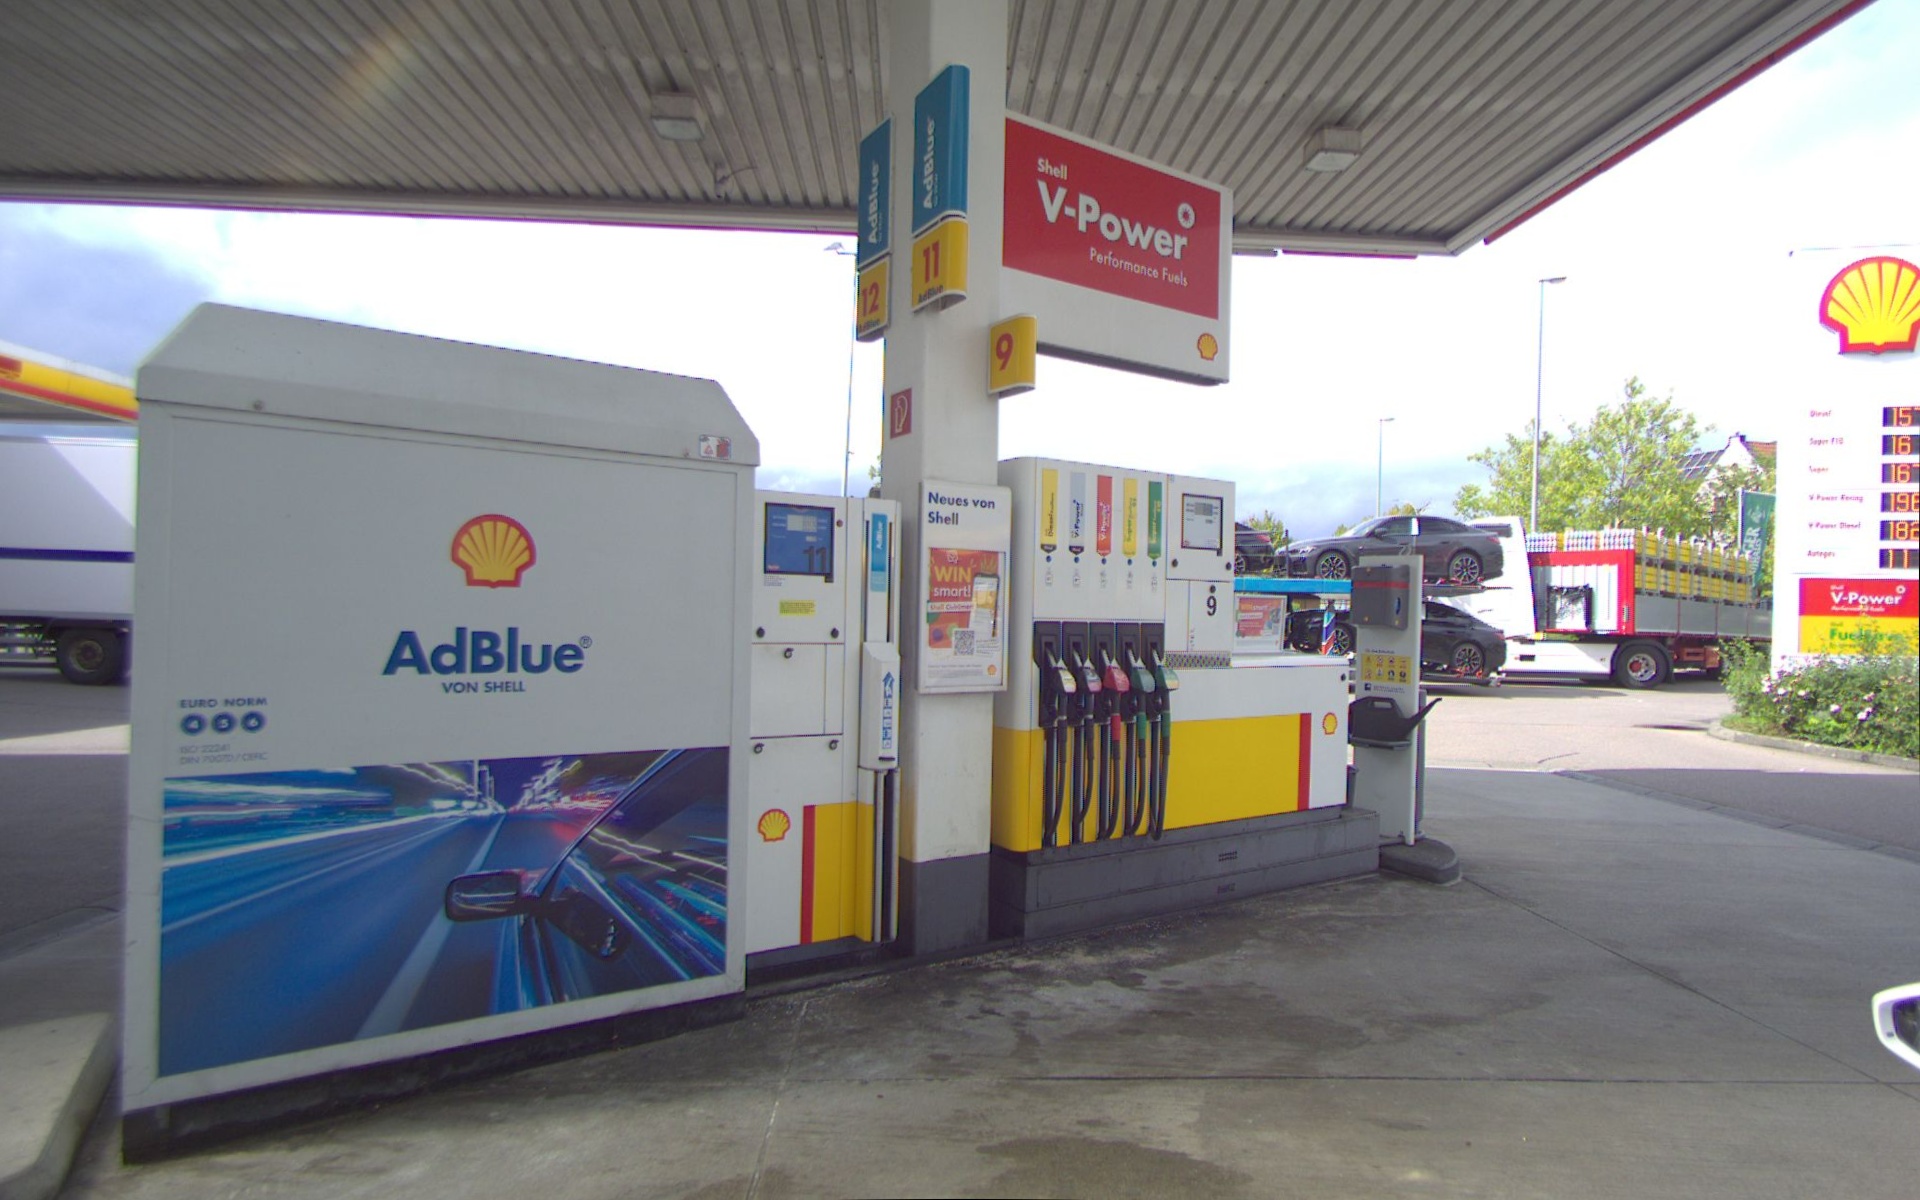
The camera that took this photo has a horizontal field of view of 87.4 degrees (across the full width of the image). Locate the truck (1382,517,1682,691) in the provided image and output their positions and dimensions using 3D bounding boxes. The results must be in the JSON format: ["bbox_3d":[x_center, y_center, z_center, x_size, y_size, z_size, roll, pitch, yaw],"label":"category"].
[{"bbox_3d":[13.840,0.049,24.836,5.799,3.897,2.743,2,0,14],"label":"truck"}]

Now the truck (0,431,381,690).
[{"bbox_3d":[-17.312,-0.747,17.500,12.654,4.092,2.534,2,0,-3],"label":"truck"}]

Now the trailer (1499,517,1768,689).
[{"bbox_3d":[18.779,0.214,27.415,12.610,3.826,2.707,2,0,-40],"label":"trailer"}]

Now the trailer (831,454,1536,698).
[{"bbox_3d":[4.514,-0.474,21.584,14.077,4.481,2.746,2,0,0],"label":"trailer"}]

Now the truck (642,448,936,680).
[{"bbox_3d":[-3.461,-0.711,21.546,5.713,4.479,2.750,2,0,0],"label":"truck"}]
